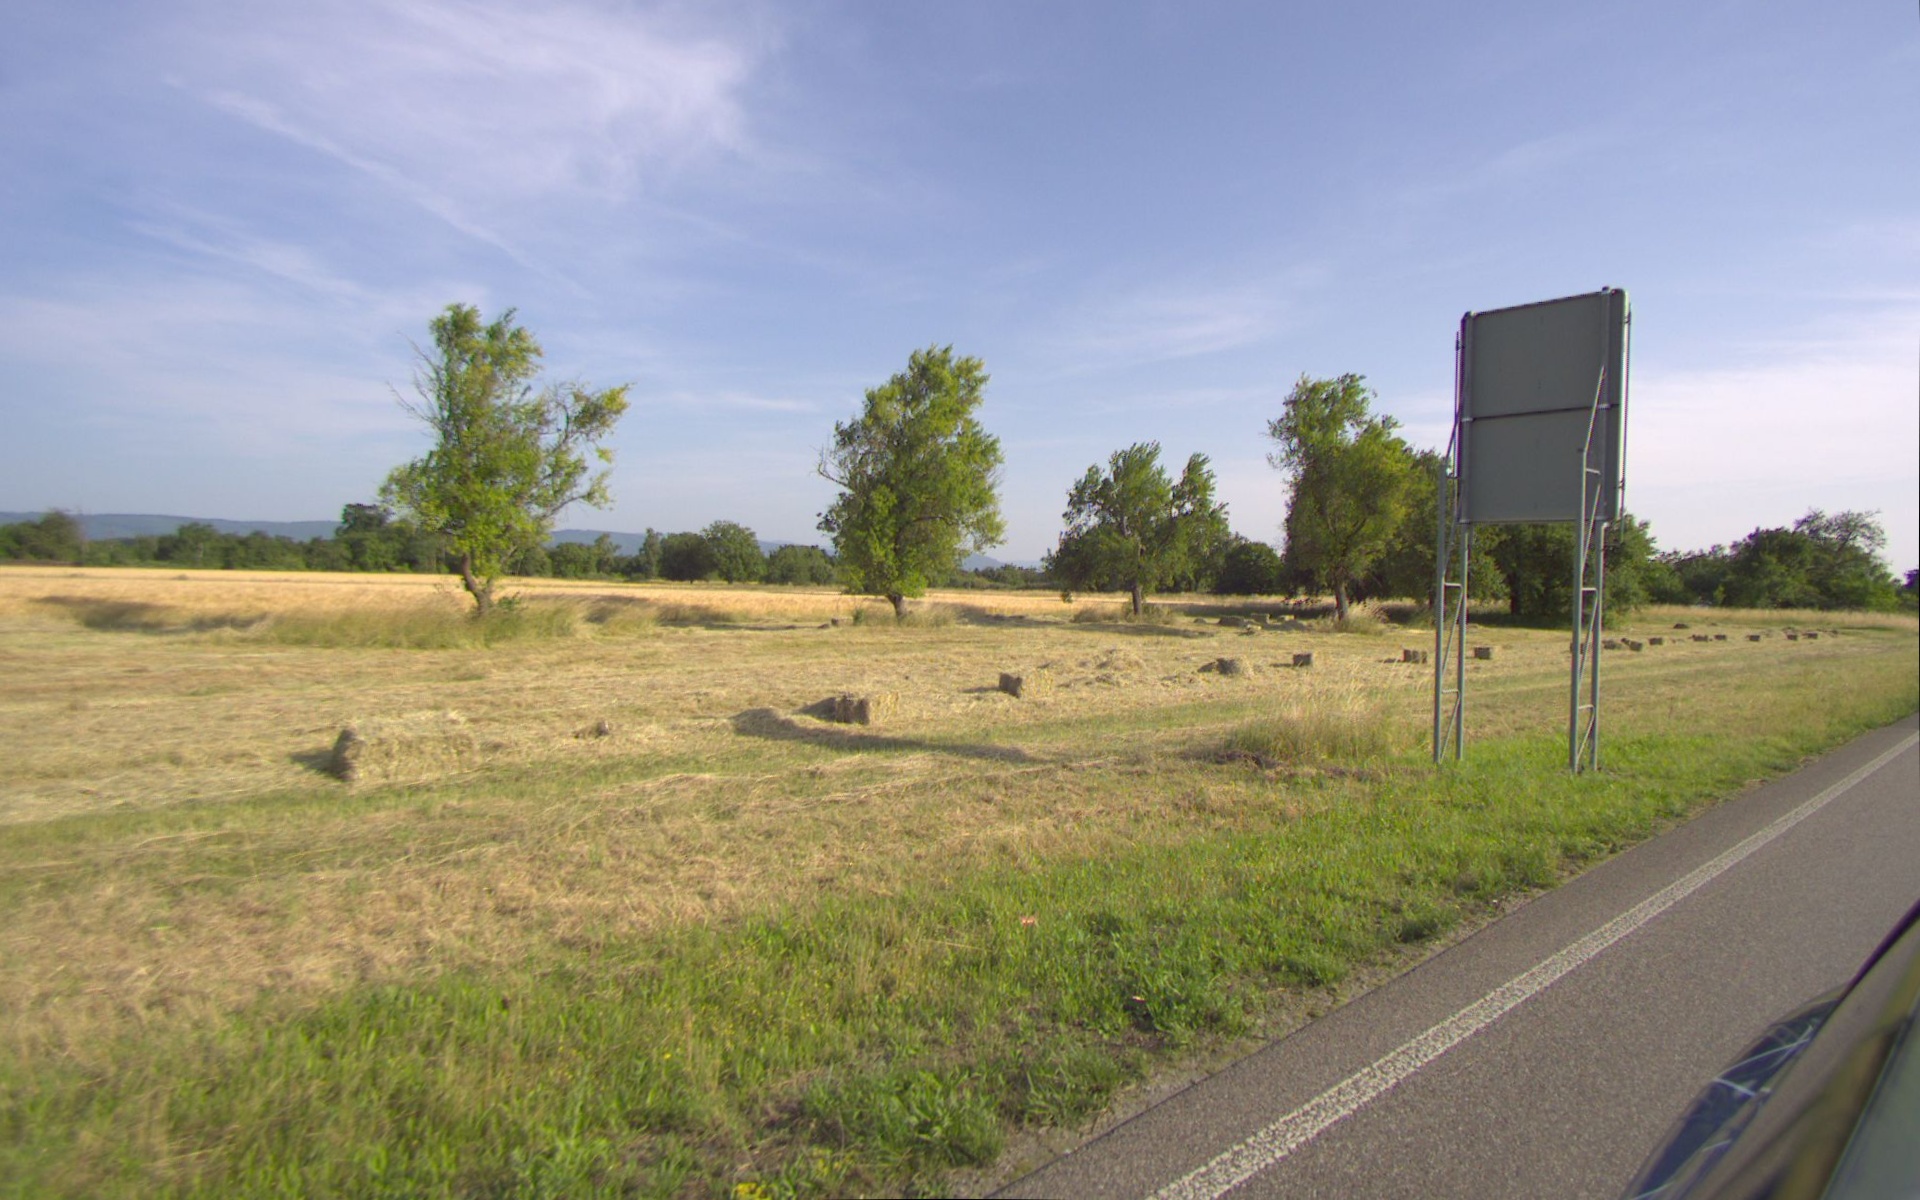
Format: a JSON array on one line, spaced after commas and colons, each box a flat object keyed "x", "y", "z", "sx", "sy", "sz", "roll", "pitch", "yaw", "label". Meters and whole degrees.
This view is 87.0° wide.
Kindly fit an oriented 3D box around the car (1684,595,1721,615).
[{"x": 68.792, "y": 0.455, "z": 93.774, "sx": 3.930, "sy": 1.772, "sz": 1.997, "roll": 1, "pitch": 0, "yaw": -41, "label": "car"}]
